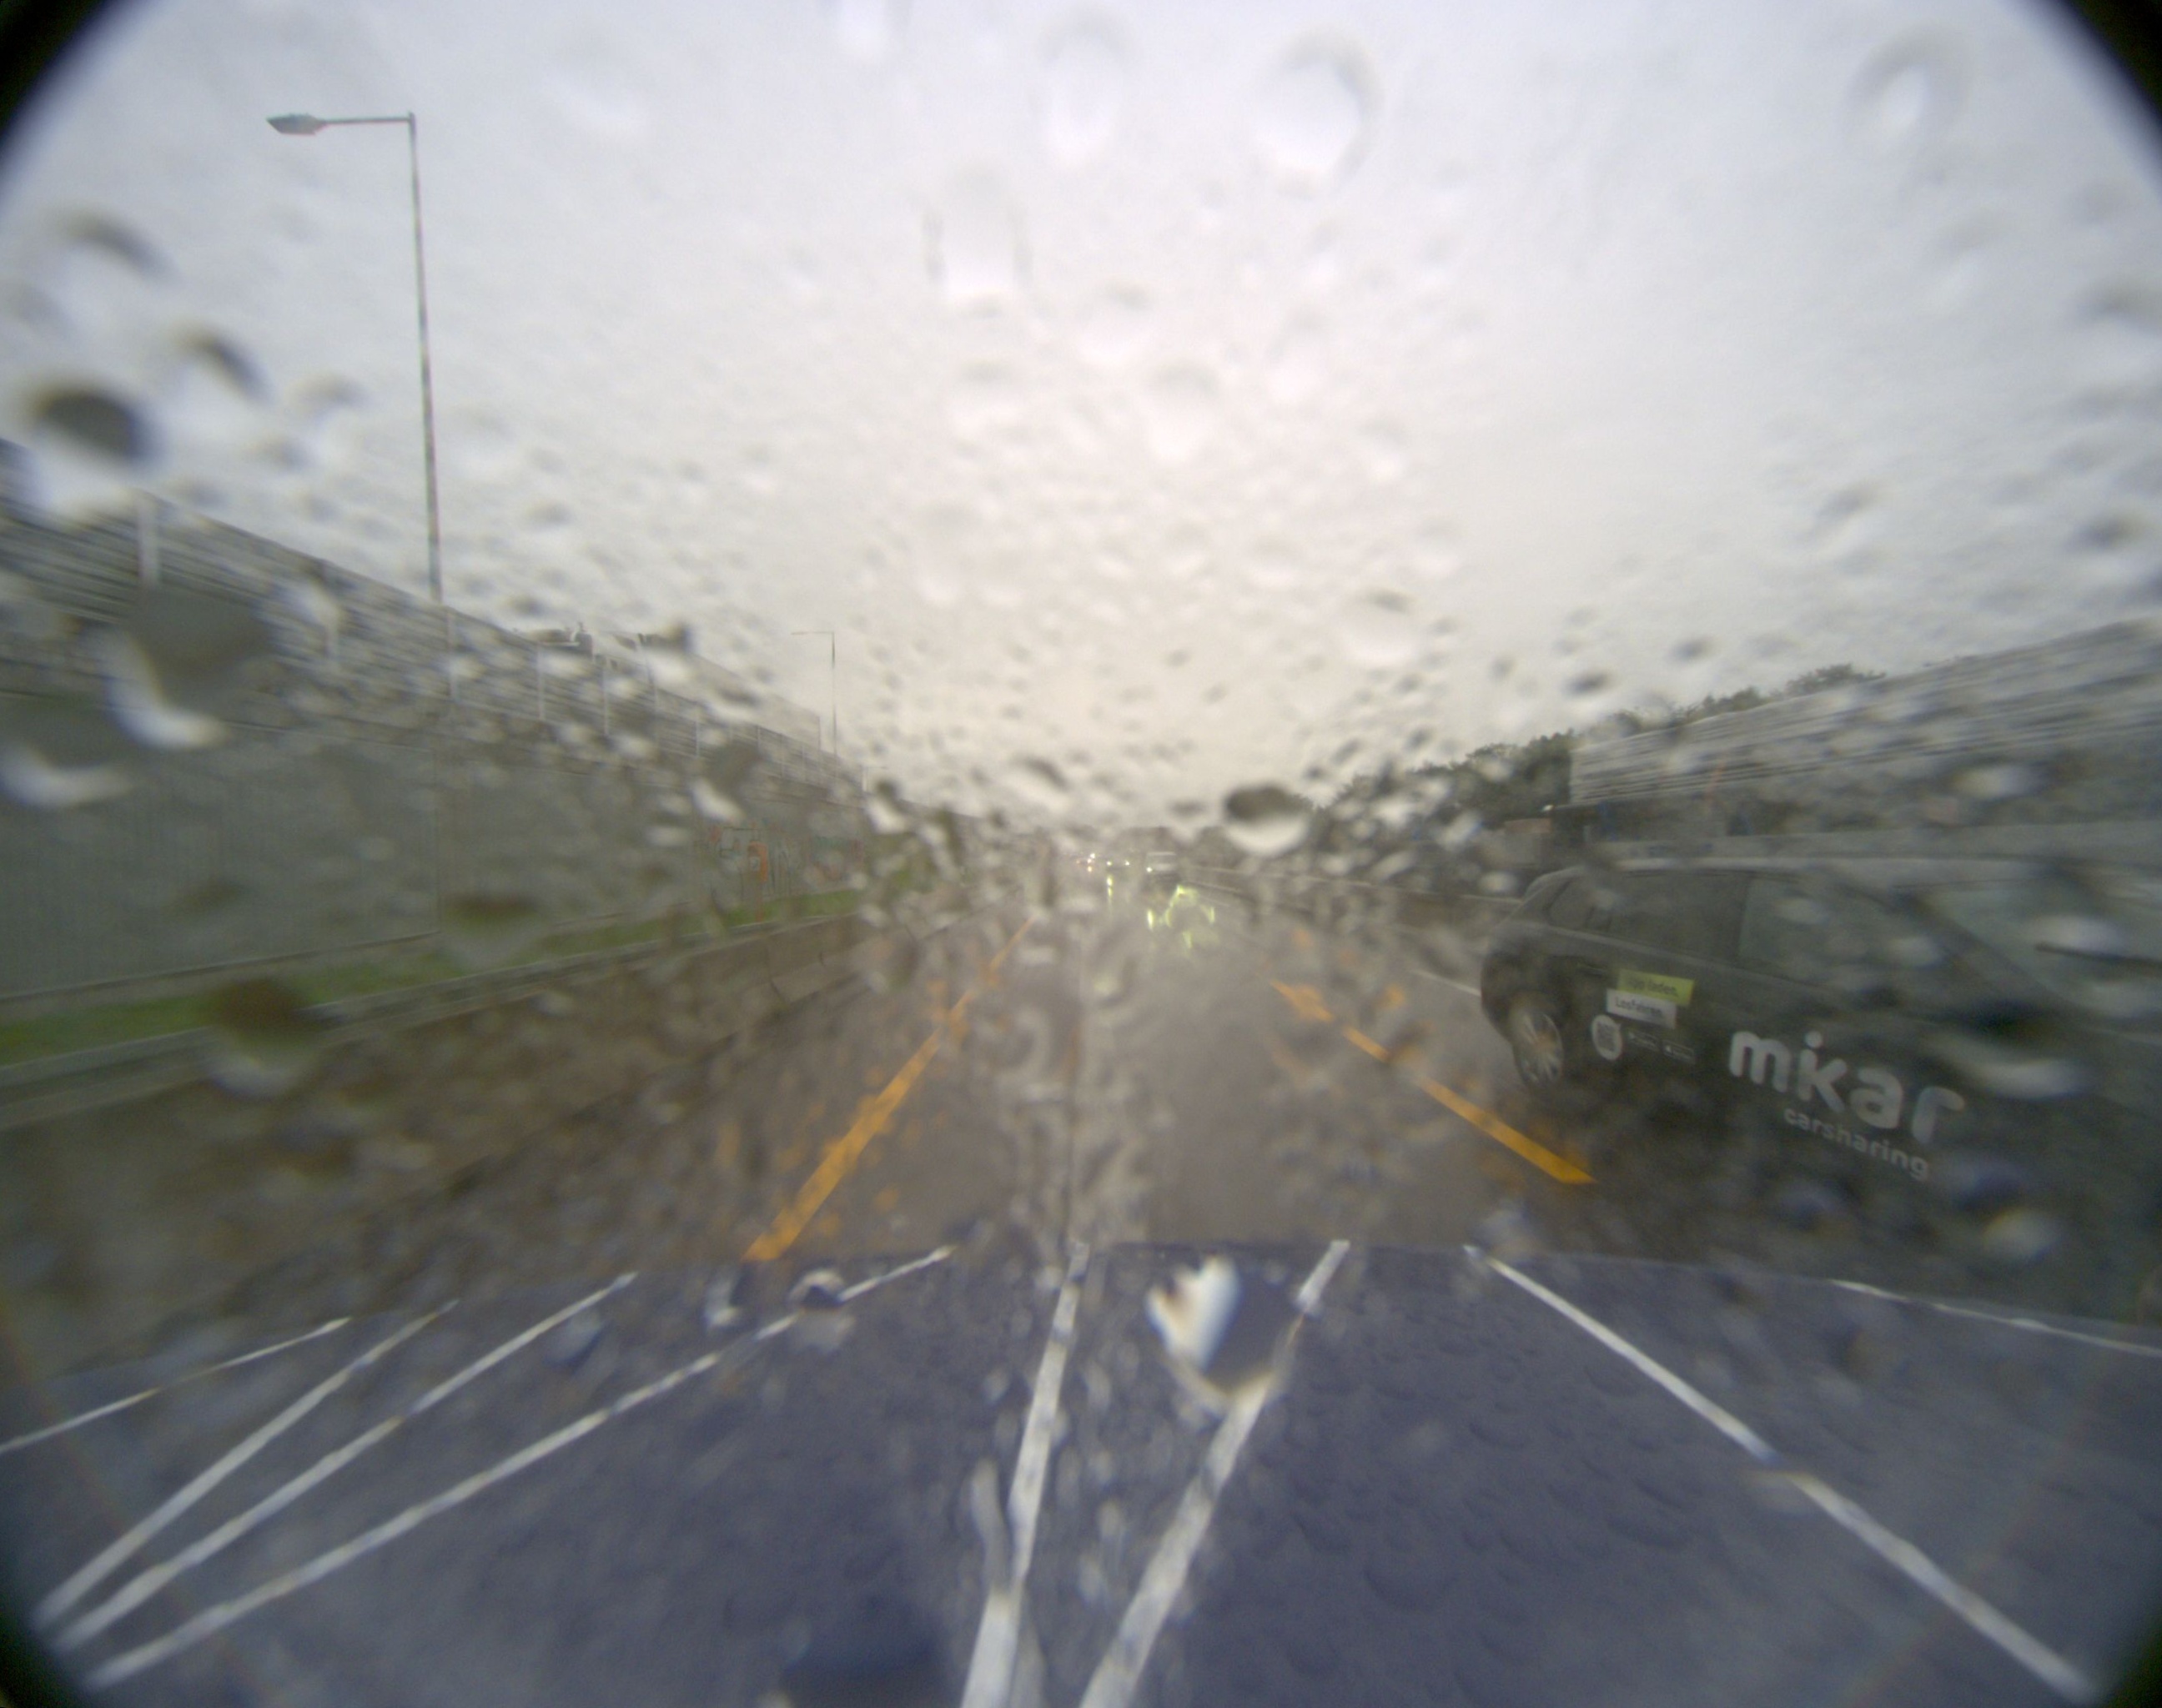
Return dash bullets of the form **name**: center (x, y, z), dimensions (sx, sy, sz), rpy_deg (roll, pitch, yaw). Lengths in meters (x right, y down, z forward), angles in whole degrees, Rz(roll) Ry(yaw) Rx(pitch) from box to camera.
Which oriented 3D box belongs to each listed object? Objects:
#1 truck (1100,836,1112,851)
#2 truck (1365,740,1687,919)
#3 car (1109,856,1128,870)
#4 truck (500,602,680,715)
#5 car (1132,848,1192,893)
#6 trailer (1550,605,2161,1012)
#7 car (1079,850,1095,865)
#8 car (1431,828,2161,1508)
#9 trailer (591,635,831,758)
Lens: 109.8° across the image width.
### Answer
- **truck**: center (7.342, -3.058, 223.436), dimensions (3.013, 4.143, 9.827), rpy_deg (-1, 2, -1)
- **truck**: center (10.343, -0.490, 19.394), dimensions (2.646, 3.328, 9.552), rpy_deg (-2, 0, 1)
- **car**: center (3.139, 0.754, 63.988), dimensions (1.335, 1.105, 3.198), rpy_deg (1, 0, -2)
- **truck**: center (-12.784, -5.037, 20.178), dimensions (1.998, 2.002, 4.057), rpy_deg (-2, 2, 1)
- **car**: center (3.463, 0.667, 33.357), dimensions (1.972, 1.671, 3.998), rpy_deg (-2, 2, -3)
- **trailer**: center (10.259, -0.428, 9.627), dimensions (2.668, 3.343, 9.714), rpy_deg (-2, 0, 1)
- **car**: center (0.817, 0.384, 100.230), dimensions (1.999, 1.762, 3.998), rpy_deg (-2, 2, 0)
- **car**: center (3.388, 0.681, 2.840), dimensions (1.944, 1.519, 4.795), rpy_deg (-2, 0, 0)
- **trailer**: center (-12.726, -5.326, 28.405), dimensions (1.998, 2.094, 13.764), rpy_deg (-2, 2, 1)
